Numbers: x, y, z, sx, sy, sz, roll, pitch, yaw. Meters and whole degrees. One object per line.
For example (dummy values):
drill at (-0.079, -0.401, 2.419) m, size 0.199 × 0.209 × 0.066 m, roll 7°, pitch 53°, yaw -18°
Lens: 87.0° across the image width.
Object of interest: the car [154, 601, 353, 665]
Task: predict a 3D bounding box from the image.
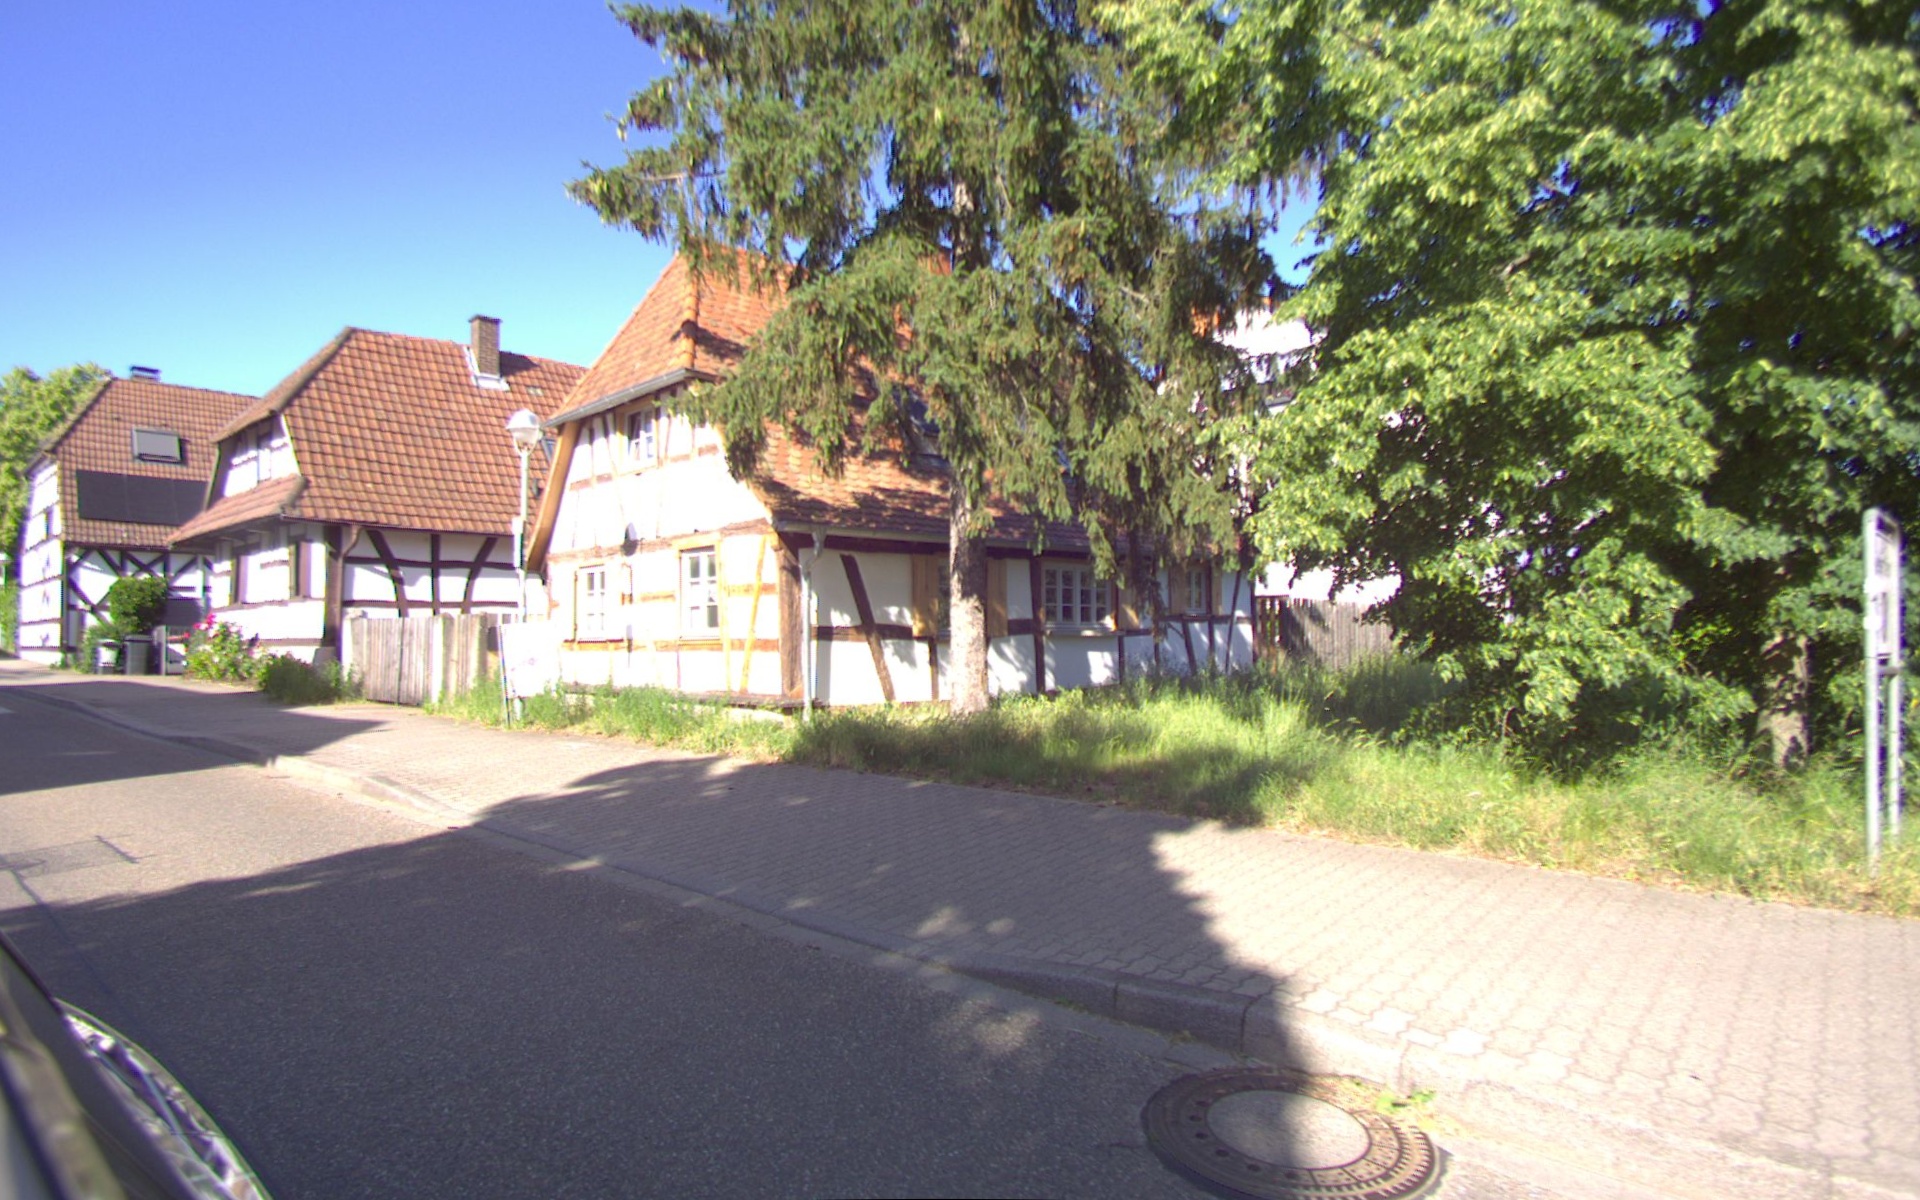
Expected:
car at (-19.146, 0.923, 27.553) m, size 1.818 × 1.604 × 4.061 m, roll 0°, pitch -3°, yaw 40°

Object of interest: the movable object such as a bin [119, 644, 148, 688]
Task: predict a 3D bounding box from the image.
movable object such as a bin at (-22.008, 1.745, 26.949) m, size 0.667 × 1.149 × 0.471 m, roll -1°, pitch -2°, yaw 40°

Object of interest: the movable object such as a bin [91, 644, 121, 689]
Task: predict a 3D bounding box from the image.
movable object such as a bin at (-22.371, 1.727, 26.507) m, size 0.667 × 1.149 × 0.471 m, roll -1°, pitch -2°, yaw 40°
